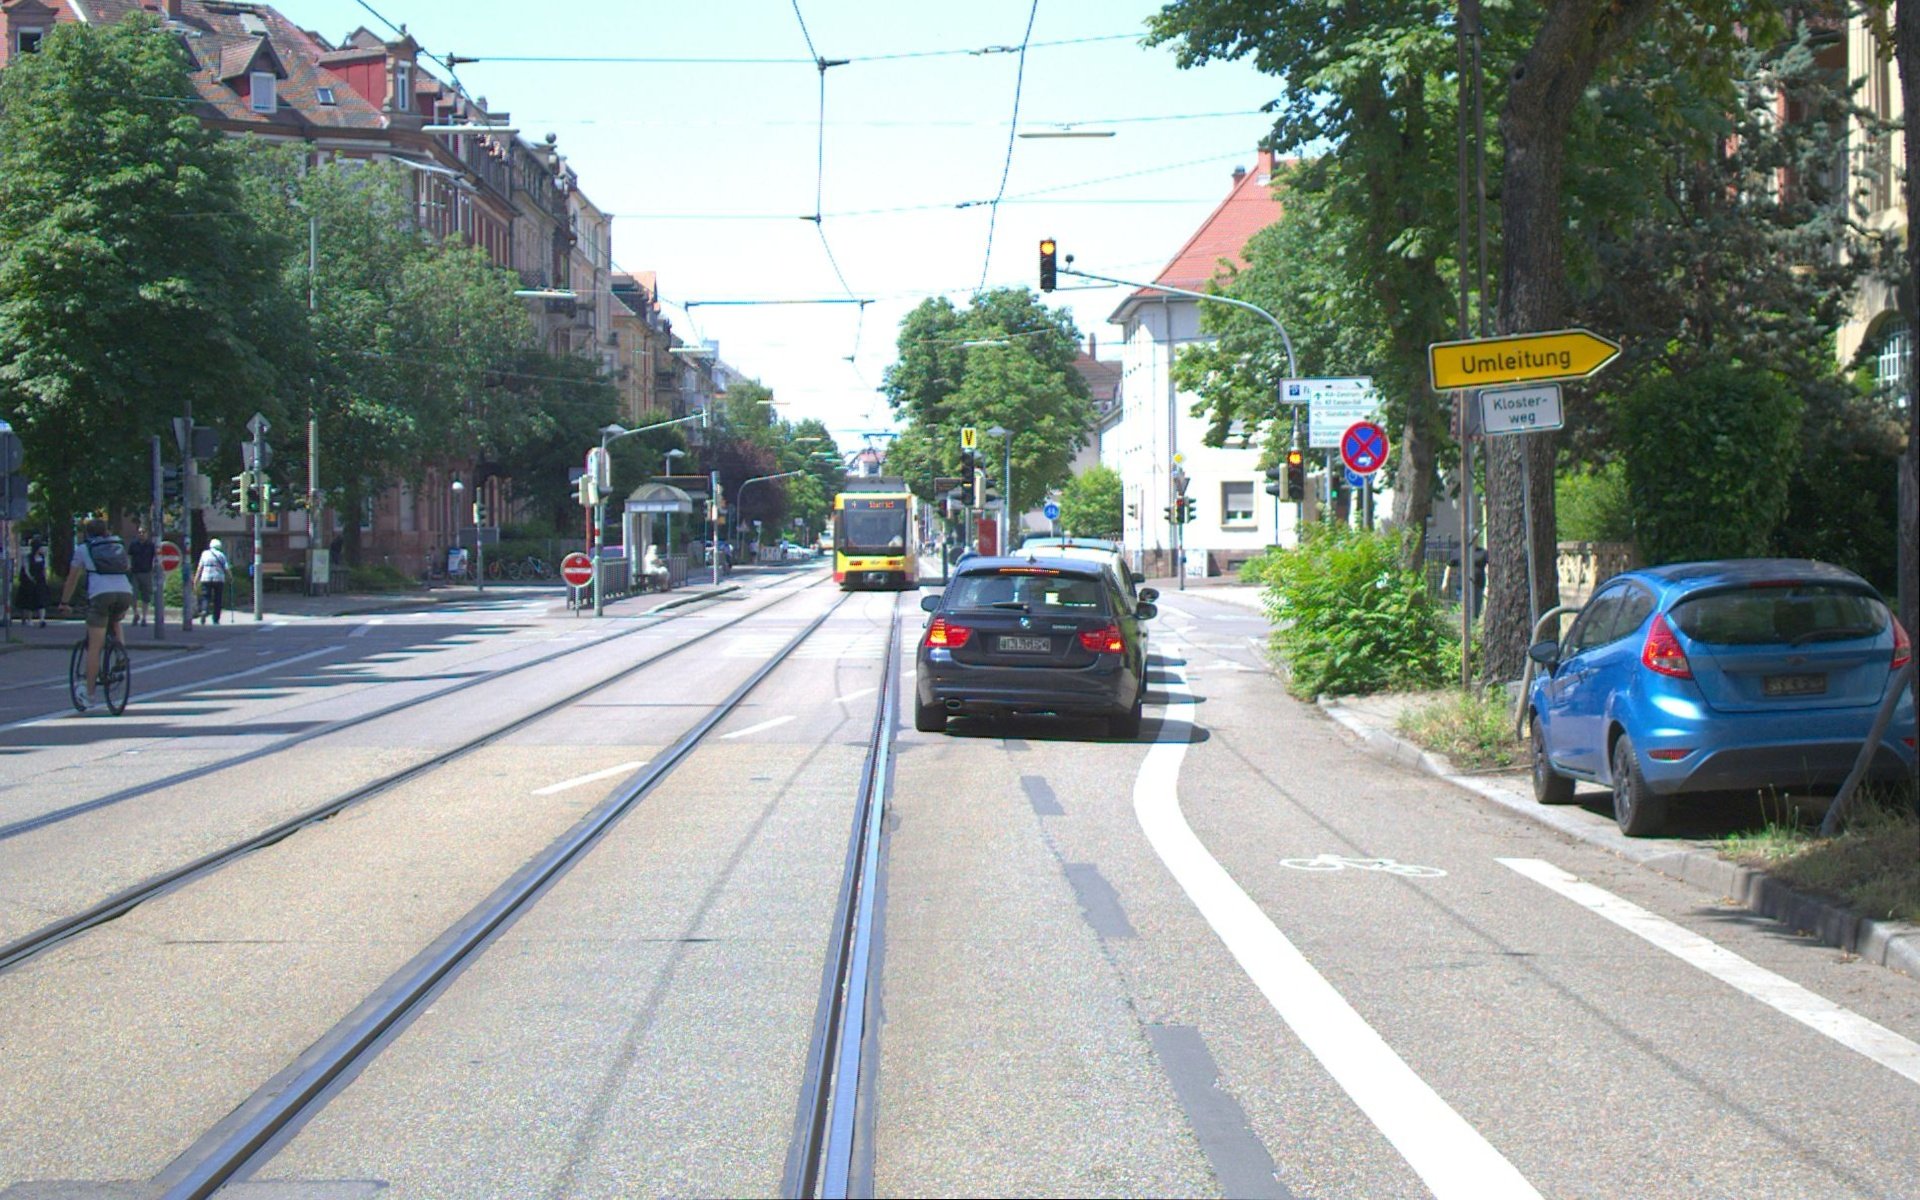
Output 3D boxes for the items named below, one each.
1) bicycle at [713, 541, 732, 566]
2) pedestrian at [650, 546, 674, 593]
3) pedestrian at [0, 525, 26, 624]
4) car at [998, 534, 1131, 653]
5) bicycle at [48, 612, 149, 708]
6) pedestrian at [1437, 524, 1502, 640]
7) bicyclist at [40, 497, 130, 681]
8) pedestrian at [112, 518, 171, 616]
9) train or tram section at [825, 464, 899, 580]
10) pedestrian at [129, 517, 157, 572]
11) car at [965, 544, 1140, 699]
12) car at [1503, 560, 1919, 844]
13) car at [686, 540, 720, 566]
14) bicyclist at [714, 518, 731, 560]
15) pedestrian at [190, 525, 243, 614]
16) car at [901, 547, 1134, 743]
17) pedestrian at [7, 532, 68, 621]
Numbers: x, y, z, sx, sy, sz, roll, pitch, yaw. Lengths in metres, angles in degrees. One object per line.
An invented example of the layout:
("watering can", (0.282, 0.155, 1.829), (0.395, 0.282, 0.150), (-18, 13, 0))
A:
("bicycle", (-10.621, -2.078, 153.666), (0.729, 1.098, 1.716), (0, 1, -1))
("pedestrian", (-7.996, -0.823, 92.321), (0.613, 1.238, 0.628), (0, 1, -6))
("pedestrian", (-17.036, -0.461, 60.591), (0.773, 1.726, 0.862), (0, 1, -45))
("car", (1.466, -0.116, 47.101), (1.691, 1.508, 3.821), (2, 1, 3))
("bicycle", (-7.987, 0.541, 31.829), (0.752, 0.815, 1.821), (-1, 1, -19))
("pedestrian", (7.259, -0.259, 49.033), (0.857, 1.640, 0.836), (0, 1, 5))
("bicyclist", (-8.059, -0.101, 31.661), (0.756, 1.657, 0.831), (1, 0, -16))
("pedestrian", (-15.866, -0.638, 66.661), (0.900, 1.884, 1.165), (0, 1, -1))
("train or tram section", (-3.022, -2.420, 107.782), (2.190, 3.470, 8.846), (0, 1, -1))
("pedestrian", (-27.034, -1.839, 113.761), (0.738, 1.805, 0.641), (-1, 1, -31))
("car", (0.934, 0.181, 35.115), (1.685, 1.479, 3.684), (0, 1, 1))
("car", (4.312, 0.507, 19.778), (1.677, 1.438, 3.721), (0, 1, -2))
("car", (-16.236, -2.976, 216.871), (1.787, 1.580, 4.001), (1, 0, -9))
("bicyclist", (-10.611, -2.729, 153.756), (0.722, 1.864, 0.825), (0, 1, -3))
("pedestrian", (-14.554, -0.601, 67.272), (0.916, 1.717, 0.840), (0, 1, -6))
("car", (0.540, 0.305, 28.311), (1.723, 1.404, 4.564), (2, 1, 3))
("pedestrian", (-17.031, -0.437, 63.472), (0.860, 1.630, 1.026), (0, 1, -2))
